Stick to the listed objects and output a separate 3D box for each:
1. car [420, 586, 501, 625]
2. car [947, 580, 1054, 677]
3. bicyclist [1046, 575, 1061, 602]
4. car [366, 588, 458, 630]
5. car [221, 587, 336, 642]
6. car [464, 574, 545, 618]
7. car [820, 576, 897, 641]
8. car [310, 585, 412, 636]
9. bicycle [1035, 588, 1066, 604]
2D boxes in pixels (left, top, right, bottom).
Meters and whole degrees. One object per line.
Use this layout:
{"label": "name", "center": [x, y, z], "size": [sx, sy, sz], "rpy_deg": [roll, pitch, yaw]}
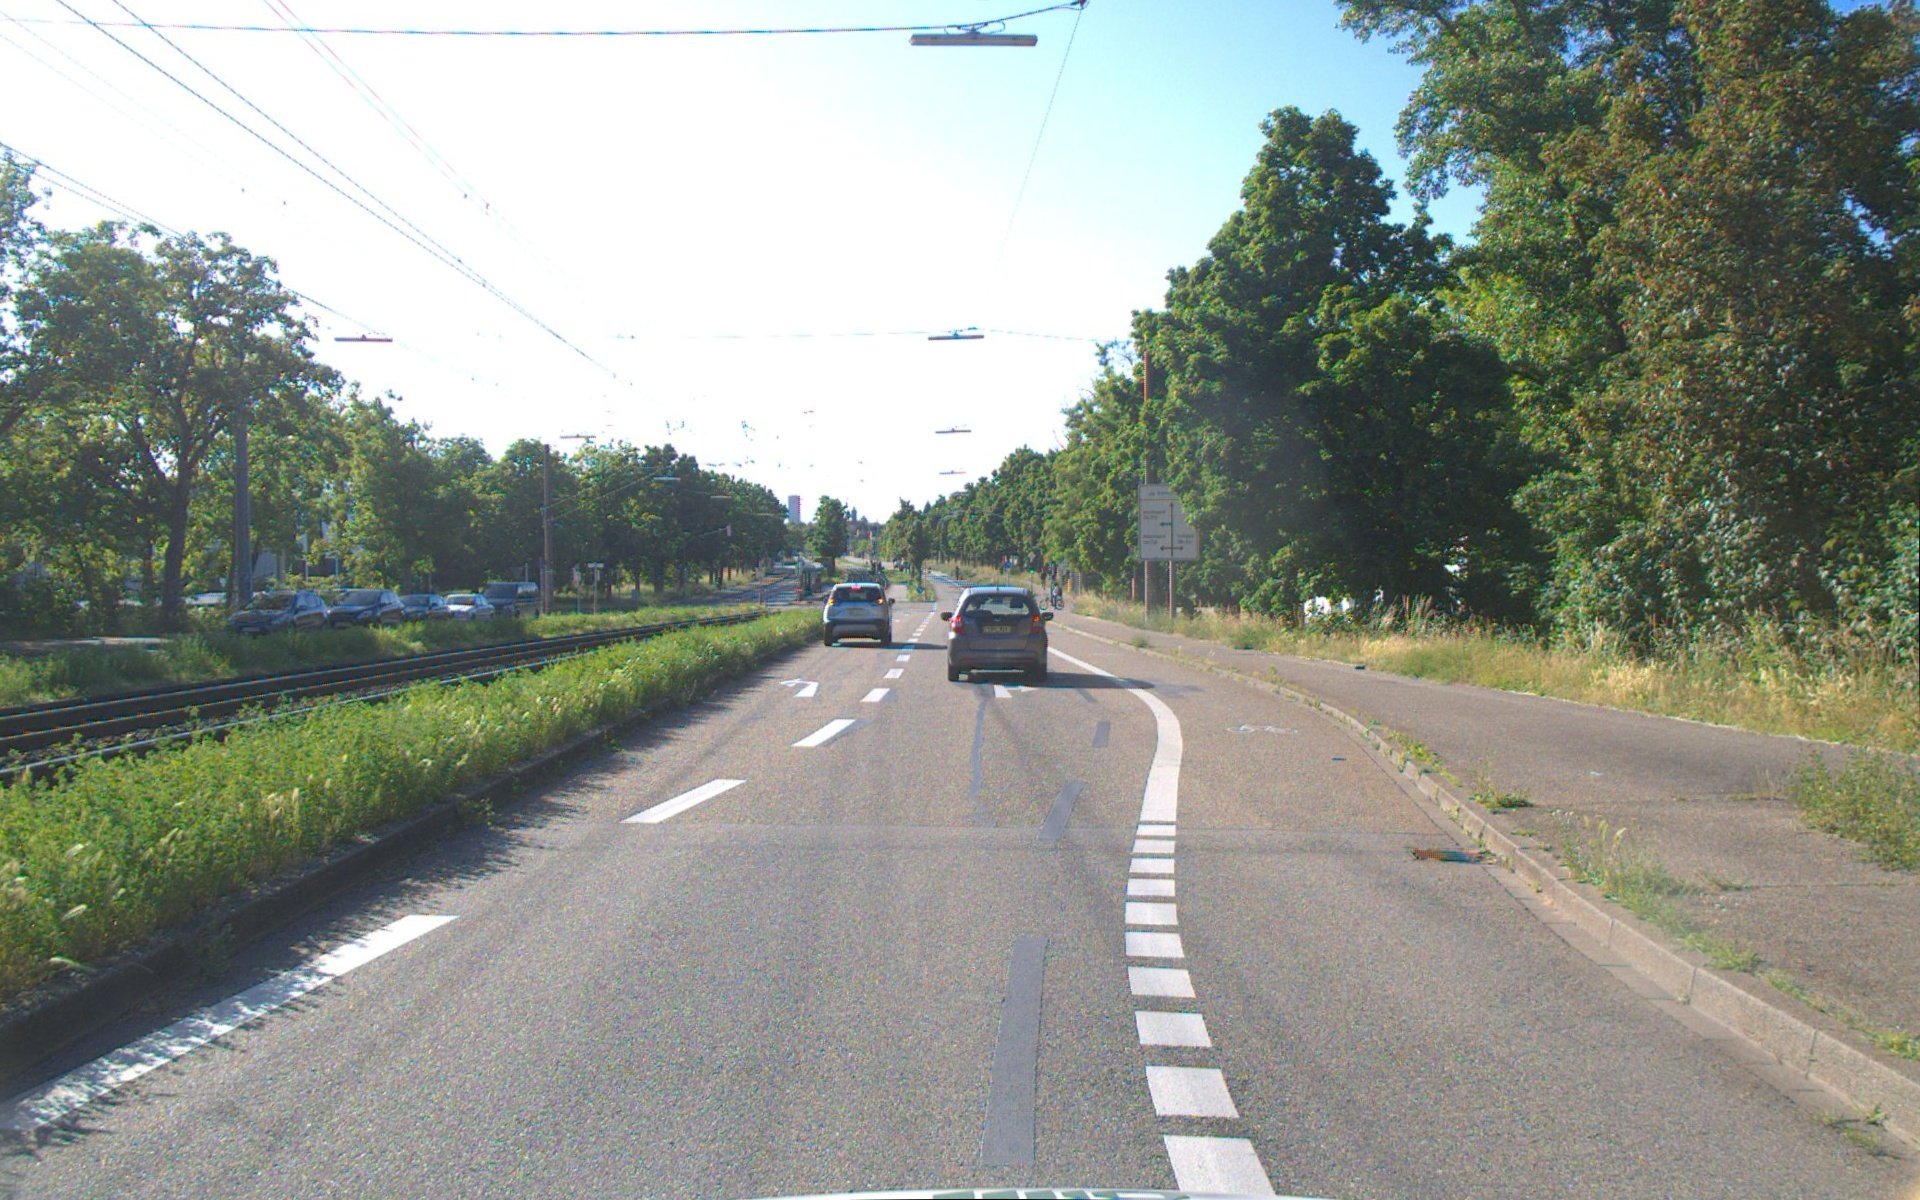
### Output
{"label": "car", "center": [-20.392, 0.195, 67.672], "size": [1.889, 1.462, 4.695], "rpy_deg": [0, 1, 0]}
{"label": "car", "center": [0.627, 0.428, 28.332], "size": [1.672, 1.535, 3.999], "rpy_deg": [0, 1, -1]}
{"label": "bicyclist", "center": [6.134, -0.748, 108.580], "size": [0.890, 1.775, 0.765], "rpy_deg": [-2, 0, 11]}
{"label": "car", "center": [-20.277, 0.307, 61.388], "size": [1.953, 1.462, 4.415], "rpy_deg": [0, 1, 0]}
{"label": "car", "center": [-20.034, 0.401, 48.790], "size": [1.700, 1.520, 4.326], "rpy_deg": [1, 0, -2]}
{"label": "car", "center": [-20.347, -0.207, 74.041], "size": [2.151, 1.924, 4.792], "rpy_deg": [0, 1, 2]}
{"label": "car", "center": [-2.641, 0.179, 43.938], "size": [1.813, 1.634, 4.254], "rpy_deg": [0, 1, -1]}
{"label": "car", "center": [-20.114, 0.315, 55.725], "size": [1.953, 1.601, 4.434], "rpy_deg": [0, 1, -2]}
{"label": "bicycle", "center": [5.944, -0.269, 108.620], "size": [1.879, 1.015, 0.765], "rpy_deg": [-2, 0, 11]}
